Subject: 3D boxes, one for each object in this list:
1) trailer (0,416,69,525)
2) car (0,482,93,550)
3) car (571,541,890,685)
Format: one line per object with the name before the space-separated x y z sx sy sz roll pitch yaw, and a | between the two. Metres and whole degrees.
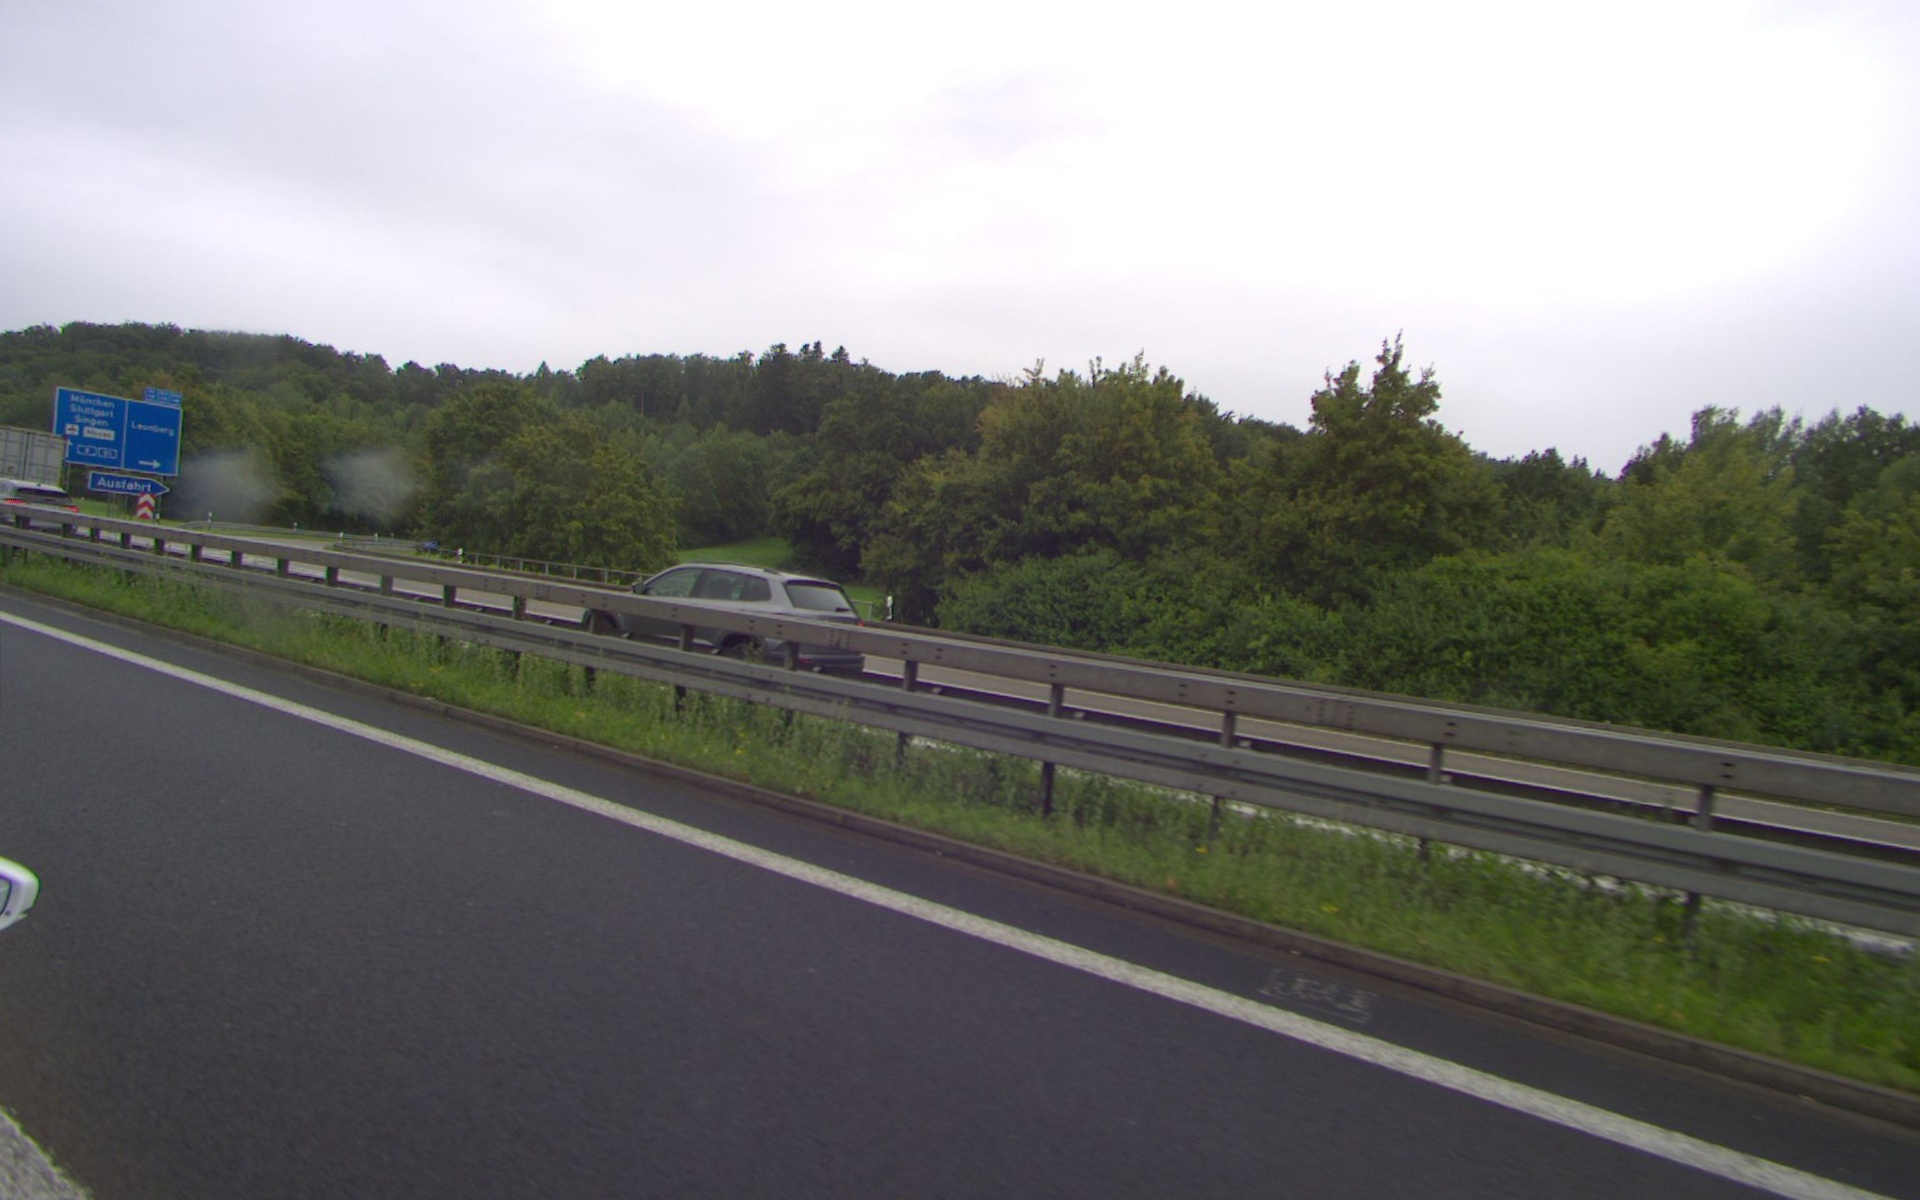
trailer | -42.167 -5.686 43.169 12.289 3.941 2.606 6 0 34
car | -27.453 -2.531 29.454 4.567 1.629 1.772 6 -1 32
car | -3.102 0.126 13.340 4.058 1.400 1.667 7 1 32
